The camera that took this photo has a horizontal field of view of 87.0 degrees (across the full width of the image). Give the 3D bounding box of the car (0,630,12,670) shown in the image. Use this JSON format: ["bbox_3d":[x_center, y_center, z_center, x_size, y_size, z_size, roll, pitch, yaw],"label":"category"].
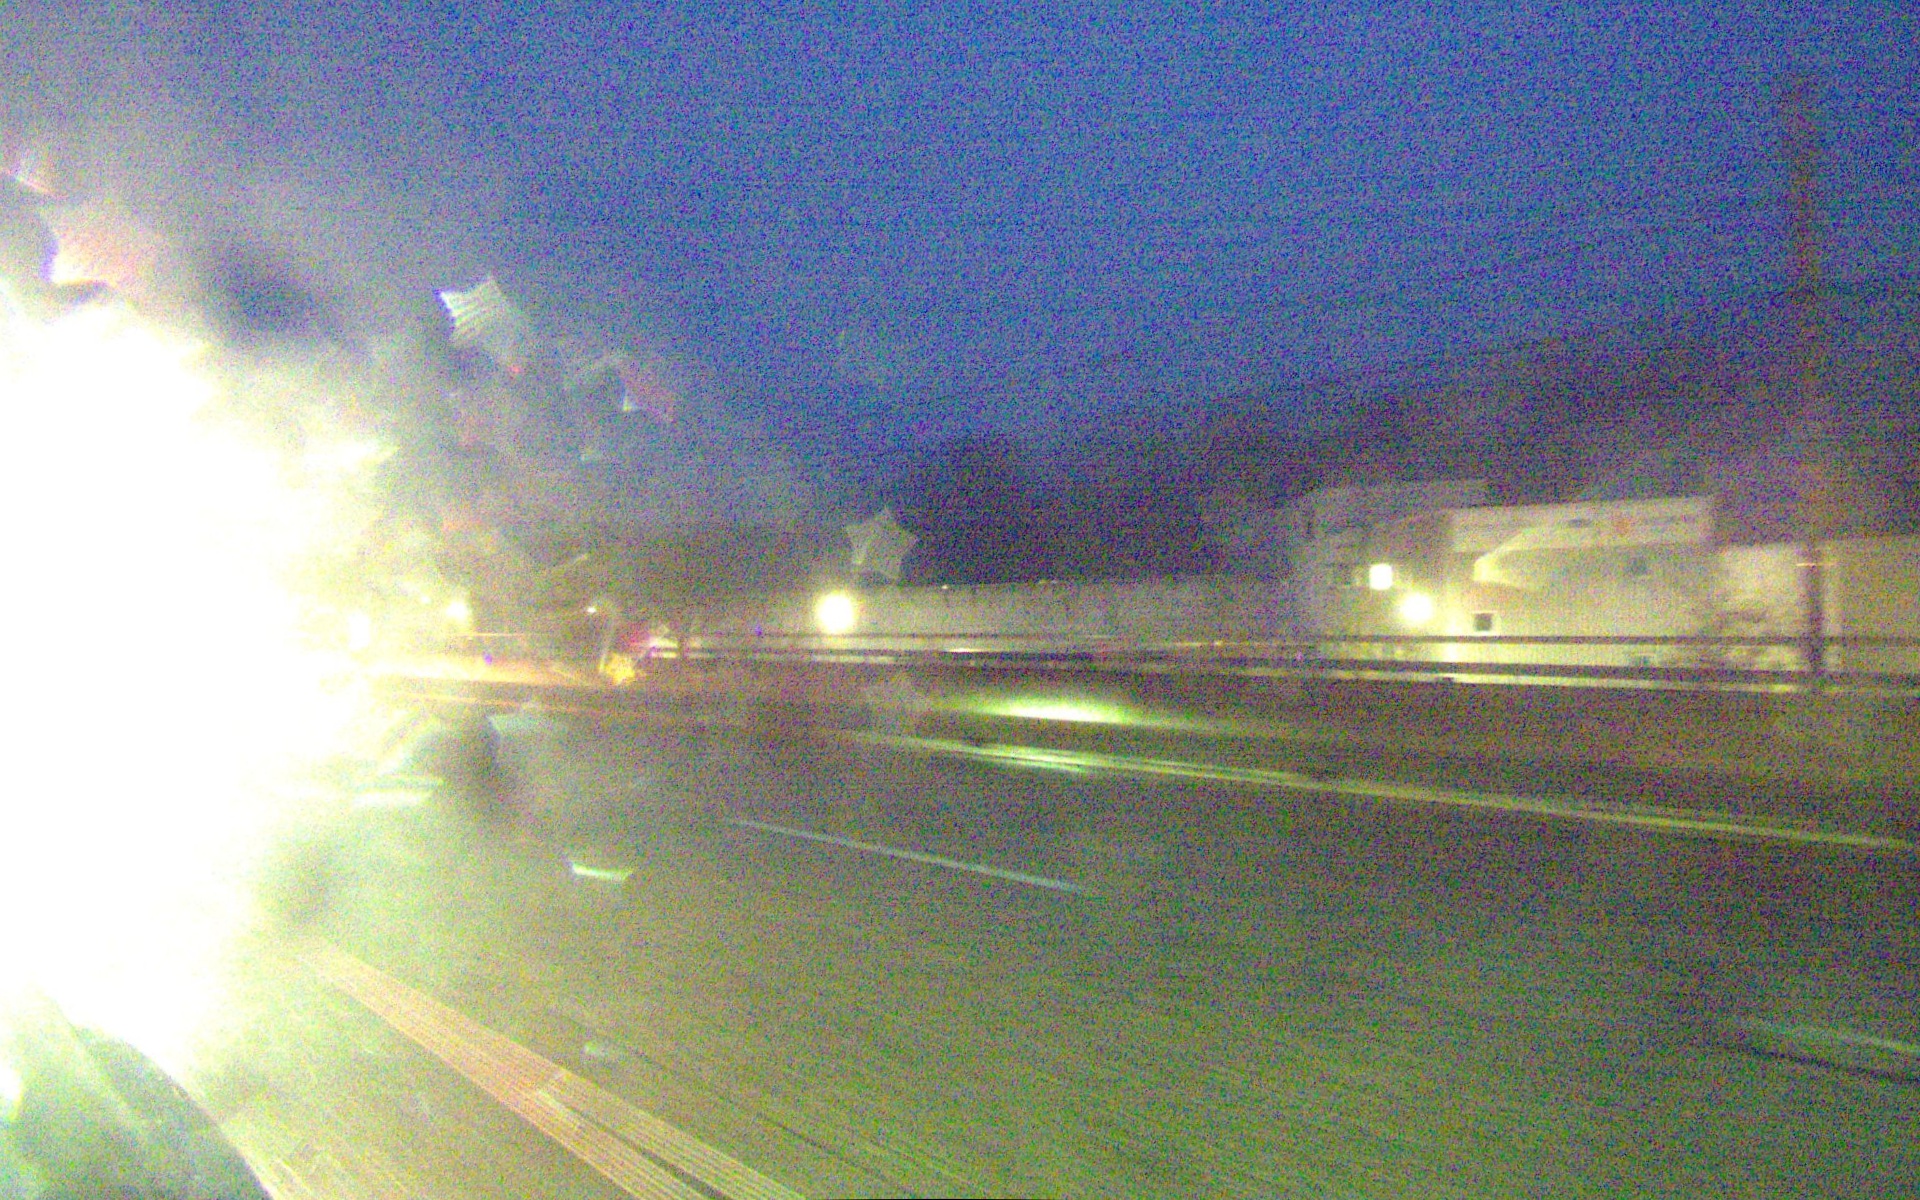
[{"bbox_3d":[-37.712,1.919,38.423,4.540,1.455,1.899,-2,-1,39],"label":"car"}]
